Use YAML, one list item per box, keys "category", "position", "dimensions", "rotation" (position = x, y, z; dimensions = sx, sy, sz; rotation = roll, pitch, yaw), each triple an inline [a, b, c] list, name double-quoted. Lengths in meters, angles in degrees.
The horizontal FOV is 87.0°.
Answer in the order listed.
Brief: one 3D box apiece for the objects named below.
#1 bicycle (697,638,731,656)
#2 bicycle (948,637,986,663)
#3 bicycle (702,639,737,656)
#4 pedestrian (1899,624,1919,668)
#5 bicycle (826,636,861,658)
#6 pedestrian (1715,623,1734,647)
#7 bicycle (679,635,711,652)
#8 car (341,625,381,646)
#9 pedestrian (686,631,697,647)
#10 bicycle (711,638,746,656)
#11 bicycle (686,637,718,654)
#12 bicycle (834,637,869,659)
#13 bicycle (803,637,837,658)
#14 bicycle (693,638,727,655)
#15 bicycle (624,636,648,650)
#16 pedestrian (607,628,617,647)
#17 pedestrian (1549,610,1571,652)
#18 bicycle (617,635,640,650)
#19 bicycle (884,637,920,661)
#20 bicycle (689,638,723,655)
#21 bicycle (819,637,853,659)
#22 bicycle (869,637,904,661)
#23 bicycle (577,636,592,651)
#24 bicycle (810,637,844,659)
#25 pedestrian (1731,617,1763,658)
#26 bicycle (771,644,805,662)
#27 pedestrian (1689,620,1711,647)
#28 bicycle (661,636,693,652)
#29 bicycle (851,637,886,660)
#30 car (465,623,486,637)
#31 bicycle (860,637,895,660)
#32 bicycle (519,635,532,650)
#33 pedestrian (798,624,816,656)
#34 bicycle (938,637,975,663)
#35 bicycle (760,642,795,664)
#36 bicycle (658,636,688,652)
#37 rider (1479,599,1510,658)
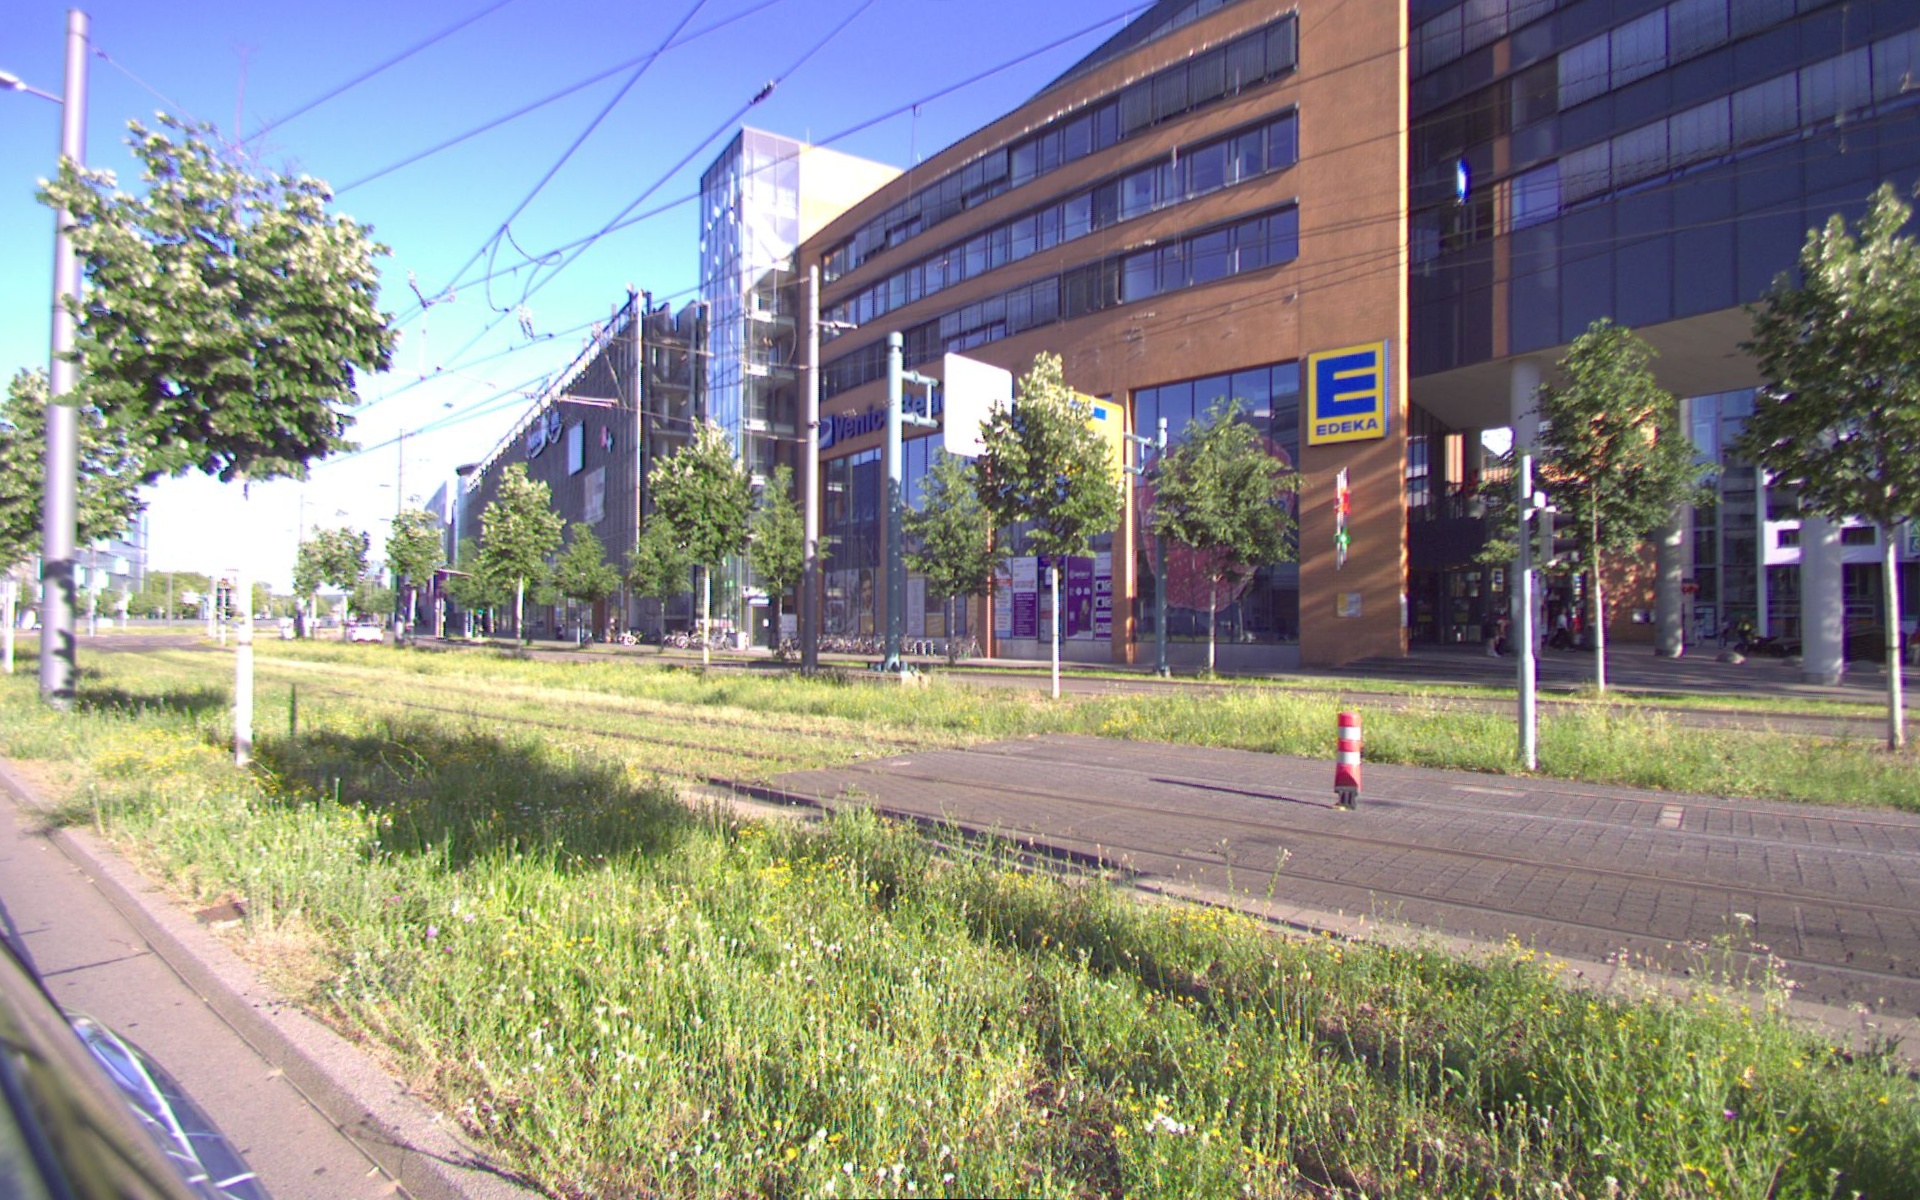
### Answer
- category: "bicycle"
  position: [-13.679, 2.609, 56.367]
  dimensions: [1.741, 0.933, 0.566]
  rotation: [1, -2, -33]
- category: "bicycle"
  position: [0.300, 2.138, 43.324]
  dimensions: [1.744, 1.057, 0.491]
  rotation: [1, -2, -42]
- category: "bicycle"
  position: [-13.243, 2.601, 55.722]
  dimensions: [1.741, 0.933, 0.566]
  rotation: [1, -2, -33]
- category: "pedestrian"
  position: [38.302, 1.839, 40.322]
  dimensions: [0.778, 1.720, 1.113]
  rotation: [0, 0, -32]
- category: "bicycle"
  position: [-5.744, 2.331, 49.990]
  dimensions: [1.744, 1.057, 0.491]
  rotation: [1, -2, -42]
- category: "pedestrian"
  position: [42.428, 1.938, 56.185]
  dimensions: [0.627, 1.287, 0.664]
  rotation: [0, 0, -32]
- category: "bicycle"
  position: [-15.566, 2.557, 59.428]
  dimensions: [1.741, 0.933, 0.492]
  rotation: [1, -2, -33]
- category: "car"
  position: [-39.585, 2.319, 66.852]
  dimensions: [1.782, 1.338, 4.415]
  rotation: [2, -2, -36]
- category: "pedestrian"
  position: [-17.925, 2.595, 67.611]
  dimensions: [0.619, 1.063, 0.450]
  rotation: [1, -2, -36]
- category: "bicycle"
  position: [-12.550, 2.543, 54.945]
  dimensions: [1.741, 0.933, 0.566]
  rotation: [1, -2, -33]
- category: "bicycle"
  position: [-14.835, 2.632, 58.213]
  dimensions: [1.741, 0.933, 0.566]
  rotation: [1, -2, -33]
- category: "bicycle"
  position: [-5.287, 2.323, 49.435]
  dimensions: [1.744, 1.057, 0.491]
  rotation: [1, -2, -42]
- category: "bicycle"
  position: [-7.164, 2.422, 51.698]
  dimensions: [1.744, 1.057, 0.491]
  rotation: [1, -2, -42]
- category: "bicycle"
  position: [-14.096, 2.617, 57.026]
  dimensions: [1.741, 0.933, 0.566]
  rotation: [1, -2, -33]
- category: "bicycle"
  position: [-21.246, 2.812, 66.370]
  dimensions: [1.377, 0.933, 0.463]
  rotation: [1, -2, -33]
- category: "pedestrian"
  position: [-24.007, 2.579, 69.781]
  dimensions: [0.442, 1.299, 0.631]
  rotation: [1, -2, -36]
- category: "pedestrian"
  position: [21.627, 1.105, 36.476]
  dimensions: [0.572, 1.491, 0.447]
  rotation: [-1, -1, 41]
- category: "bicycle"
  position: [-22.119, 2.829, 67.580]
  dimensions: [1.377, 0.933, 0.463]
  rotation: [1, -2, -33]
- category: "bicycle"
  position: [-2.716, 2.281, 47.301]
  dimensions: [1.744, 1.057, 0.491]
  rotation: [1, -2, -42]
- category: "bicycle"
  position: [-14.454, 2.624, 57.618]
  dimensions: [1.741, 0.933, 0.566]
  rotation: [1, -2, -33]
- category: "bicycle"
  position: [-6.177, 2.405, 50.547]
  dimensions: [1.744, 1.057, 0.491]
  rotation: [1, -2, -42]
- category: "bicycle"
  position: [-3.439, 2.291, 47.473]
  dimensions: [1.744, 1.057, 0.491]
  rotation: [1, -2, -42]
- category: "bicycle"
  position: [-22.725, 2.642, 61.216]
  dimensions: [0.380, 0.875, 1.775]
  rotation: [1, -2, -36]
- category: "bicycle"
  position: [-6.750, 2.415, 51.313]
  dimensions: [1.744, 1.057, 0.491]
  rotation: [1, -2, -42]
- category: "pedestrian"
  position: [33.079, 1.565, 42.533]
  dimensions: [0.778, 1.720, 0.810]
  rotation: [0, 0, -32]
- category: "bicycle"
  position: [-9.522, 2.931, 56.051]
  dimensions: [1.741, 0.933, 0.566]
  rotation: [1, -2, -33]
- category: "pedestrian"
  position: [41.040, 1.853, 56.122]
  dimensions: [1.038, 1.491, 0.660]
  rotation: [0, 0, -32]
- category: "bicycle"
  position: [-17.203, 2.676, 61.494]
  dimensions: [1.741, 0.933, 0.566]
  rotation: [1, -2, -33]
- category: "bicycle"
  position: [-4.367, 2.307, 48.517]
  dimensions: [1.744, 1.057, 0.491]
  rotation: [1, -2, -42]
- category: "car"
  position: [-56.758, 3.529, 118.504]
  dimensions: [1.559, 1.541, 3.759]
  rotation: [0, 0, -37]
- category: "bicycle"
  position: [-3.903, 2.299, 48.033]
  dimensions: [1.744, 1.057, 0.491]
  rotation: [1, -2, -42]
- category: "bicycle"
  position: [-27.414, 2.665, 63.838]
  dimensions: [0.380, 0.930, 1.775]
  rotation: [1, -2, -36]
- category: "pedestrian"
  position: [-8.083, 2.108, 53.456]
  dimensions: [0.736, 1.681, 0.676]
  rotation: [1, -2, -43]
- category: "bicycle"
  position: [-0.138, 2.145, 43.745]
  dimensions: [1.744, 1.057, 0.491]
  rotation: [1, -2, -42]
- category: "bicycle"
  position: [-7.622, 2.192, 42.203]
  dimensions: [1.771, 0.875, 0.458]
  rotation: [-1, -2, 42]
- category: "bicycle"
  position: [-17.597, 2.683, 62.068]
  dimensions: [1.741, 0.933, 0.492]
  rotation: [1, -2, -33]
- category: "rider"
  position: [16.838, 0.893, 31.871]
  dimensions: [0.712, 1.816, 0.710]
  rotation: [-1, -2, 42]
